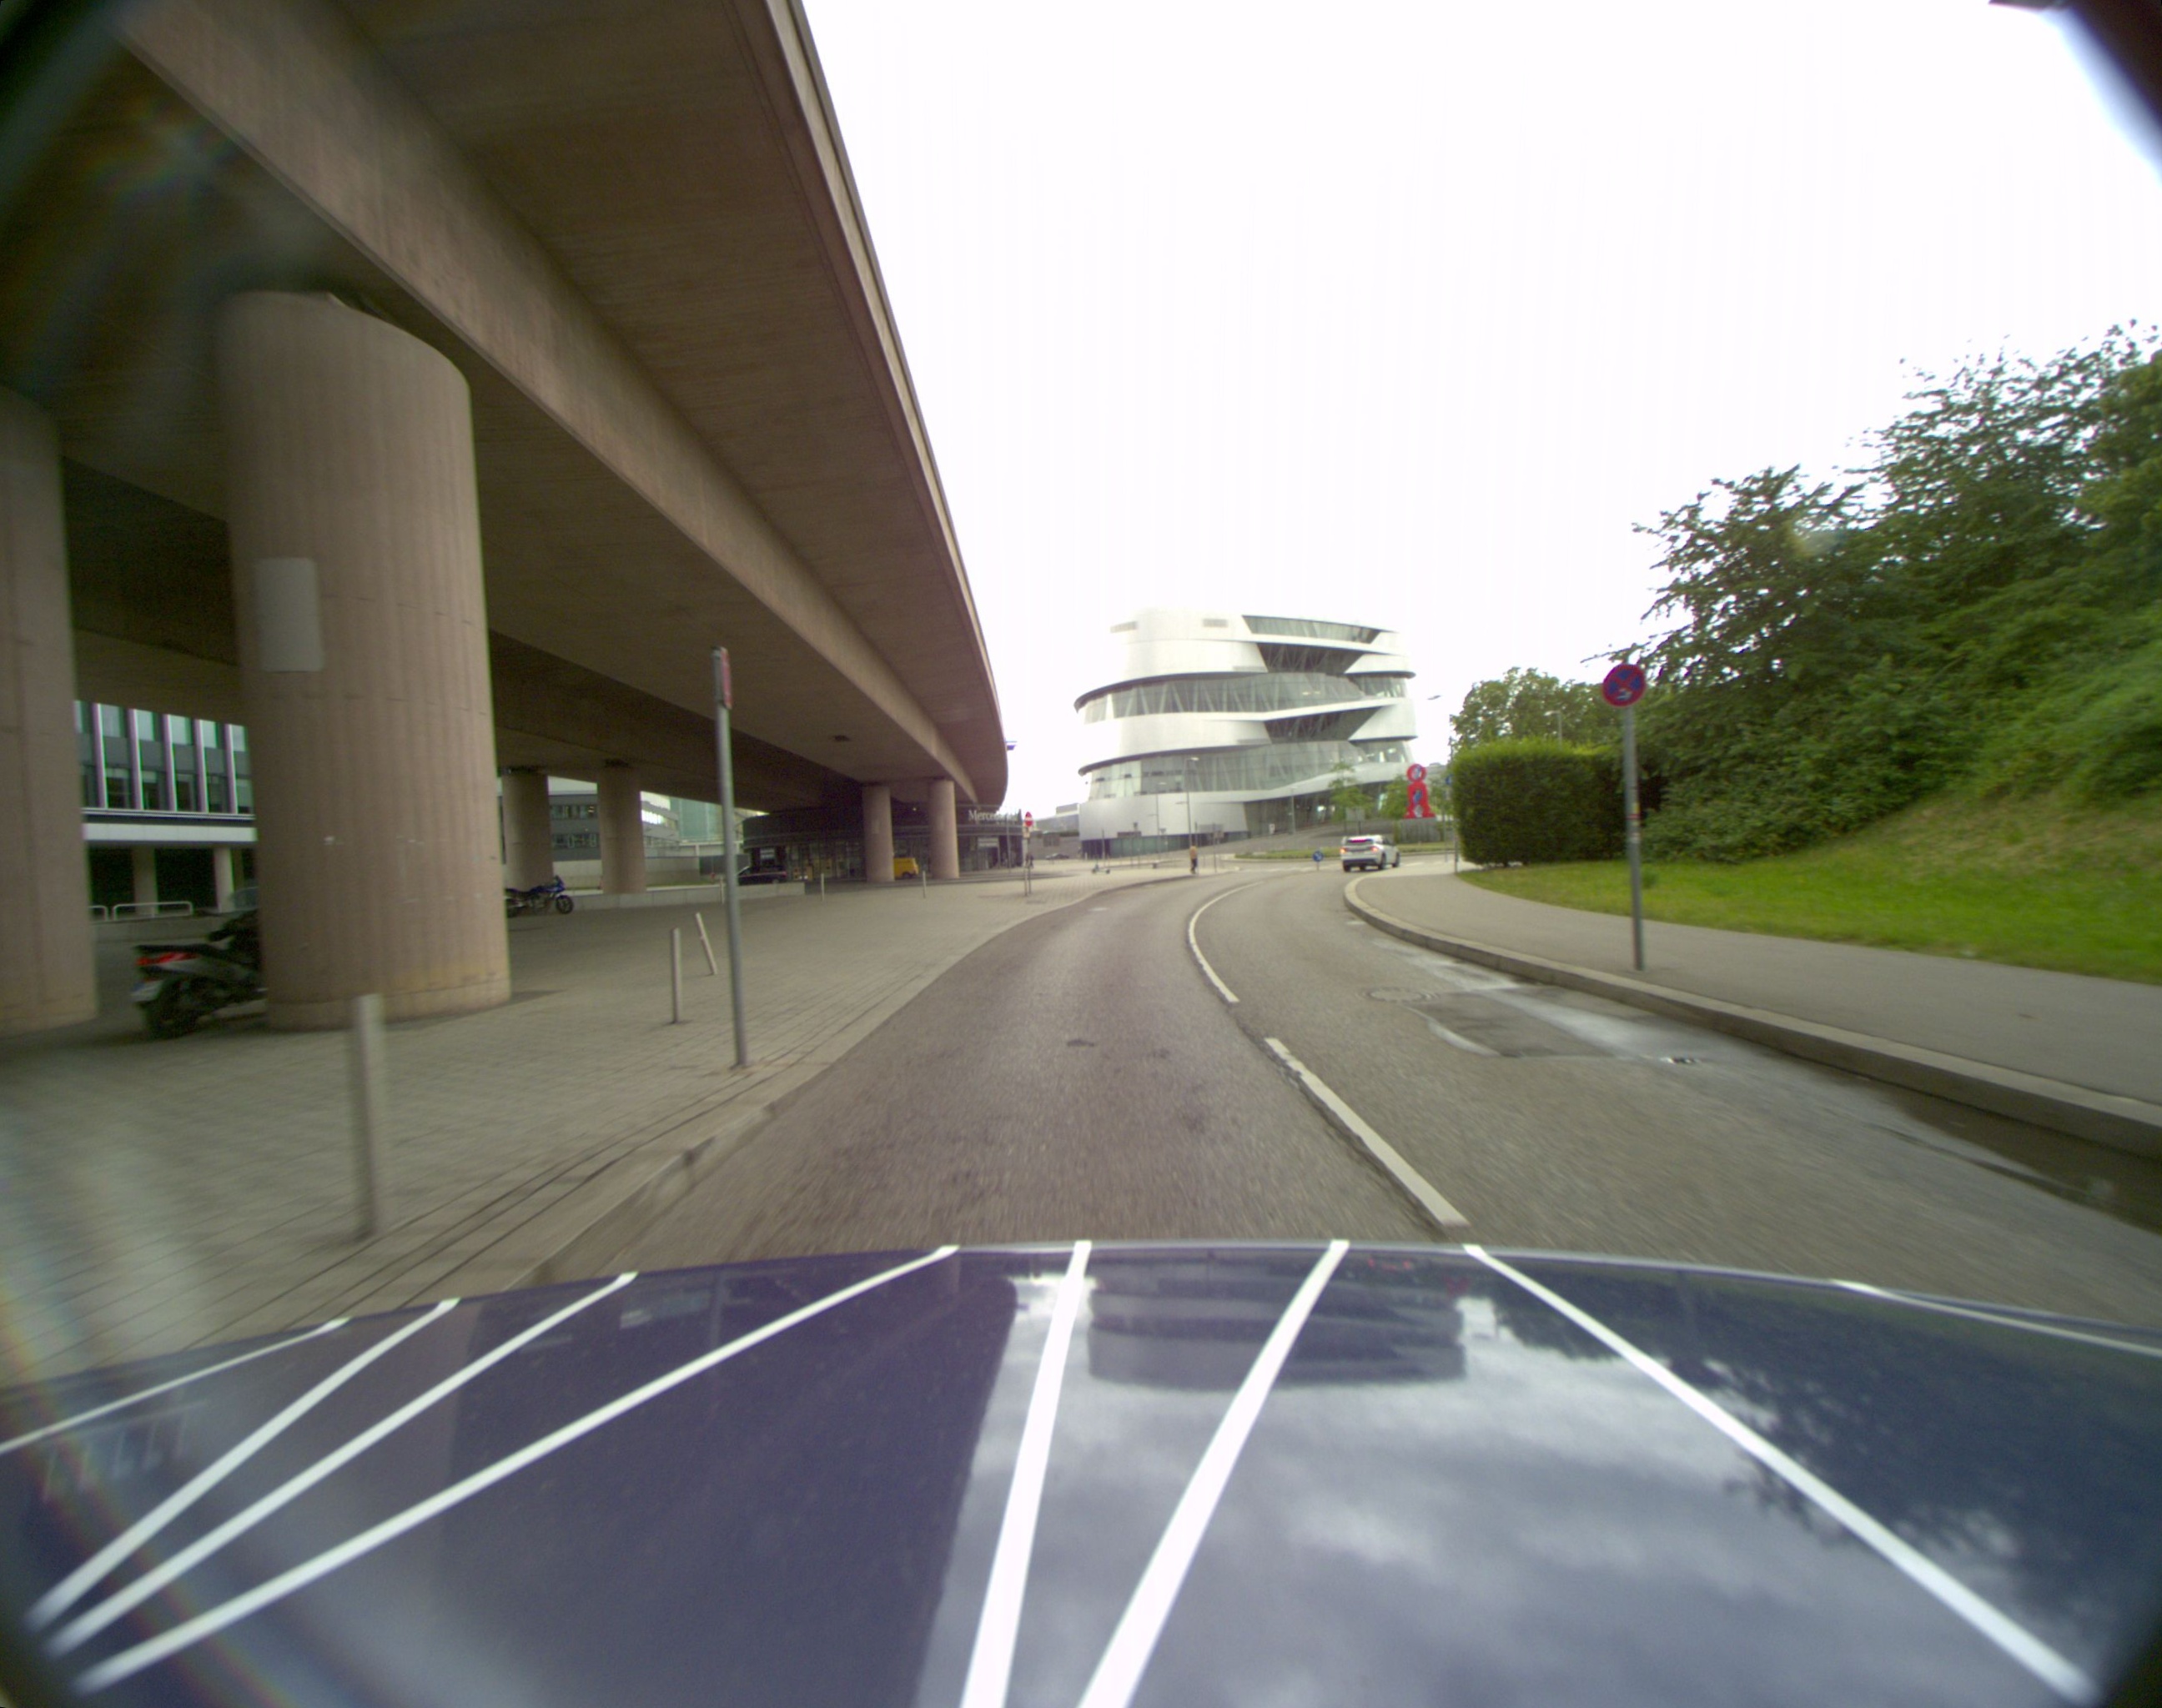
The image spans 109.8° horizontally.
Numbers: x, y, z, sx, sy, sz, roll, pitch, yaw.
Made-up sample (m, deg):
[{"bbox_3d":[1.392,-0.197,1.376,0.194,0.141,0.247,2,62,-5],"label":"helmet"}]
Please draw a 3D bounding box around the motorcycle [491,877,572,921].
[{"bbox_3d":[-17.165,1.382,23.793,1.943,1.257,0.547,-2,-1,-21],"label":"motorcycle"}]

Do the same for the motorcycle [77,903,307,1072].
[{"bbox_3d":[-9.071,1.280,7.875,0.644,1.446,1.760,-2,-1,-16],"label":"motorcycle"}]

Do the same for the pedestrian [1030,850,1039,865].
[{"bbox_3d":[-5.251,0.401,86.085,0.773,1.695,0.864,-2,-1,-24],"label":"pedestrian"}]

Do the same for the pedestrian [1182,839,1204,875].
[{"bbox_3d":[6.443,0.197,43.754,1.039,2.001,0.784,-2,0,-3],"label":"pedestrian"}]

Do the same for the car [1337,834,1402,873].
[{"bbox_3d":[13.823,-0.036,36.292,1.865,1.673,4.414,-3,-1,34],"label":"car"}]

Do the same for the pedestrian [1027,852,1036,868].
[{"bbox_3d":[-5.755,0.656,87.531,0.784,1.787,0.864,-2,-1,-18],"label":"pedestrian"}]

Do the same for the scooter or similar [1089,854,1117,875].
[{"bbox_3d":[1.415,0.669,48.571,1.646,1.288,0.519,-3,-1,15],"label":"scooter or similar"}]

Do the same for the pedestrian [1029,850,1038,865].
[{"bbox_3d":[-5.454,0.429,86.924,0.773,1.695,0.785,-2,-1,-23],"label":"pedestrian"}]

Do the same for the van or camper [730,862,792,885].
[{"bbox_3d":[-28.555,1.739,67.894,4.907,1.881,2.150,-2,-1,-24],"label":"van or camper"}]

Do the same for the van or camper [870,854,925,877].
[{"bbox_3d":[-17.083,1.074,71.047,4.502,1.987,2.362,-3,-1,0],"label":"van or camper"}]
